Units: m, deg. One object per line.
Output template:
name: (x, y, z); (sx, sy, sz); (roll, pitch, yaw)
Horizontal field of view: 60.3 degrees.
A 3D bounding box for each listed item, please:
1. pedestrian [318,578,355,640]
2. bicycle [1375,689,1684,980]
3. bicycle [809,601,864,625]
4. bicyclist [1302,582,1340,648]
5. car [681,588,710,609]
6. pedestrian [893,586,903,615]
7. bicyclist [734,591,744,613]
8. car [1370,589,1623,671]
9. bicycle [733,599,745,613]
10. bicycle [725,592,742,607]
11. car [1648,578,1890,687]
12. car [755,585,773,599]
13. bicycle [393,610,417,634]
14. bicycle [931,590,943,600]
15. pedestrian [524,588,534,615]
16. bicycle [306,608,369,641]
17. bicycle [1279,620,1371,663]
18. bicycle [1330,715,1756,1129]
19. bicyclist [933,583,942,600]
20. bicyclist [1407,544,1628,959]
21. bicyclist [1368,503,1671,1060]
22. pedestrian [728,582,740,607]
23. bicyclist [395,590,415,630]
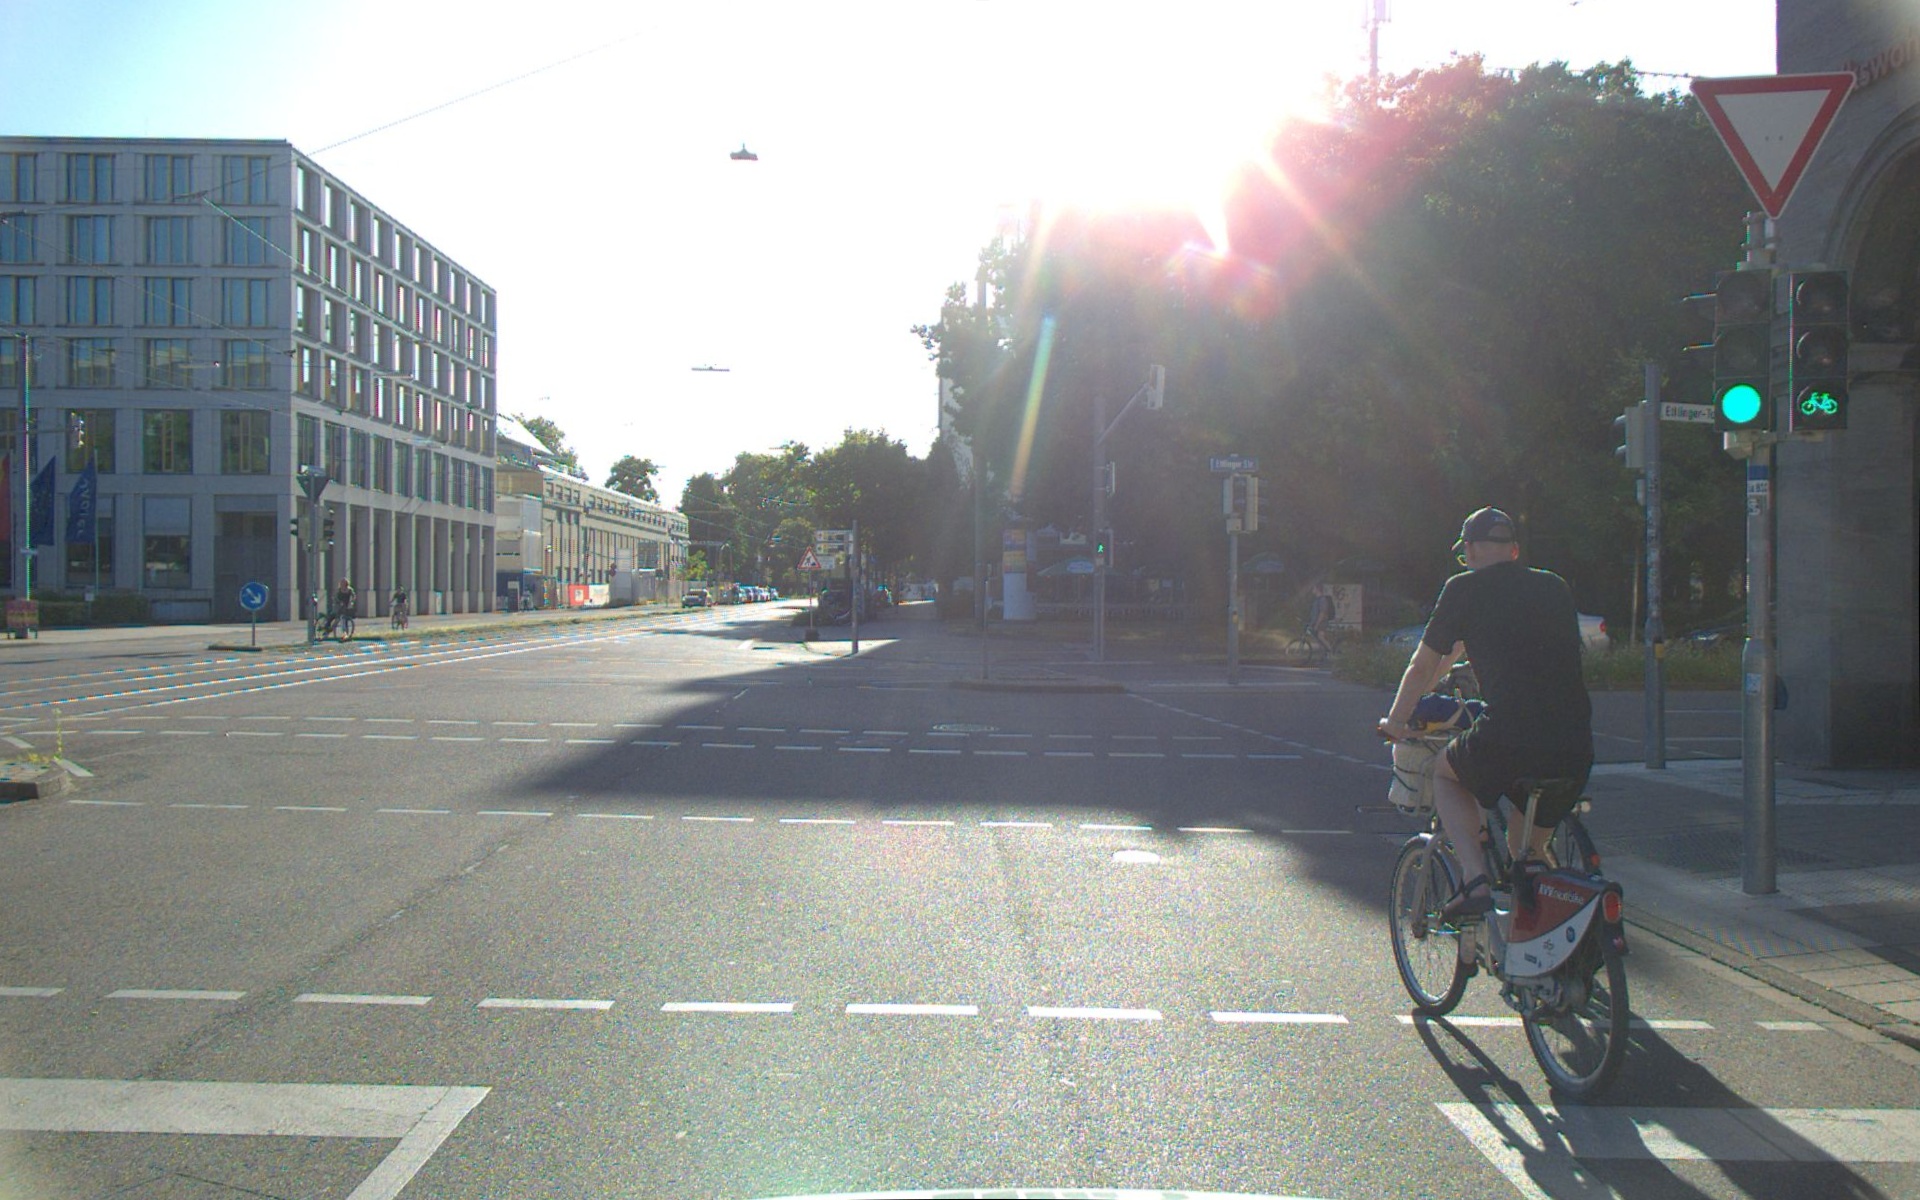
pedestrian: (-16.462, 0.240, 43.701); (0.727, 1.623, 0.573); (0, 0, 26)
bicycle: (2.527, 0.993, 7.558); (0.571, 1.062, 1.743); (0, 0, -10)
bicycle: (-5.007, 0.509, 67.089); (2.201, 0.956, 0.653); (0, 0, -6)
bicyclist: (7.961, 0.335, 36.456); (0.731, 1.431, 0.702); (1, -1, 6)
car: (-21.647, -0.124, 135.401); (1.954, 1.627, 3.997); (0, 0, -3)
pedestrian: (-3.654, 0.045, 97.411); (0.566, 1.719, 0.584); (0, 0, -8)
bicyclist: (-19.743, 0.175, 147.475); (0.735, 1.953, 1.214); (1, -1, -2)
car: (10.855, 0.603, 33.689); (4.483, 1.543, 2.000); (1, 0, -1)
bicycle: (-19.740, 0.578, 147.592); (0.735, 1.226, 3.107); (1, 0, -2)
bicycle: (-19.396, -0.029, 141.678); (0.735, 1.226, 3.109); (1, 0, 5)
car: (16.233, 0.638, 33.342); (3.905, 2.049, 2.000); (1, 0, 0)
car: (-23.036, -0.962, 194.324); (1.954, 1.673, 3.997); (0, 0, -4)
bicycle: (-21.107, 0.832, 62.914); (0.484, 0.854, 1.156); (0, 0, 2)
bicycle: (-2.757, -0.629, 200.386); (0.875, 1.240, 2.785); (1, 0, -12)
pedestrian: (-30.900, 0.117, 118.474); (0.576, 1.922, 0.478); (1, -1, -1)
bicycle: (-16.437, 0.637, 43.681); (1.679, 0.837, 0.573); (0, 0, 27)
bicycle: (8.039, 0.910, 36.449); (1.902, 0.905, 0.718); (1, -1, 5)
bicycle: (1.906, 0.994, 5.698); (0.612, 1.062, 1.743); (0, 0, -10)
bicyclist: (-2.747, -1.029, 200.329); (0.875, 2.049, 0.746); (1, -1, -12)
bicyclist: (2.523, 0.642, 7.568); (0.573, 1.769, 0.948); (0, 0, -10)
bicyclist: (1.893, 0.566, 5.695); (0.612, 1.745, 0.910); (0, 0, -12)
pedestrian: (-19.390, -0.484, 141.750); (0.735, 2.099, 1.050); (1, -1, 5)
bicyclist: (-21.106, 0.373, 62.885); (0.484, 1.525, 0.666); (0, 0, 2)
